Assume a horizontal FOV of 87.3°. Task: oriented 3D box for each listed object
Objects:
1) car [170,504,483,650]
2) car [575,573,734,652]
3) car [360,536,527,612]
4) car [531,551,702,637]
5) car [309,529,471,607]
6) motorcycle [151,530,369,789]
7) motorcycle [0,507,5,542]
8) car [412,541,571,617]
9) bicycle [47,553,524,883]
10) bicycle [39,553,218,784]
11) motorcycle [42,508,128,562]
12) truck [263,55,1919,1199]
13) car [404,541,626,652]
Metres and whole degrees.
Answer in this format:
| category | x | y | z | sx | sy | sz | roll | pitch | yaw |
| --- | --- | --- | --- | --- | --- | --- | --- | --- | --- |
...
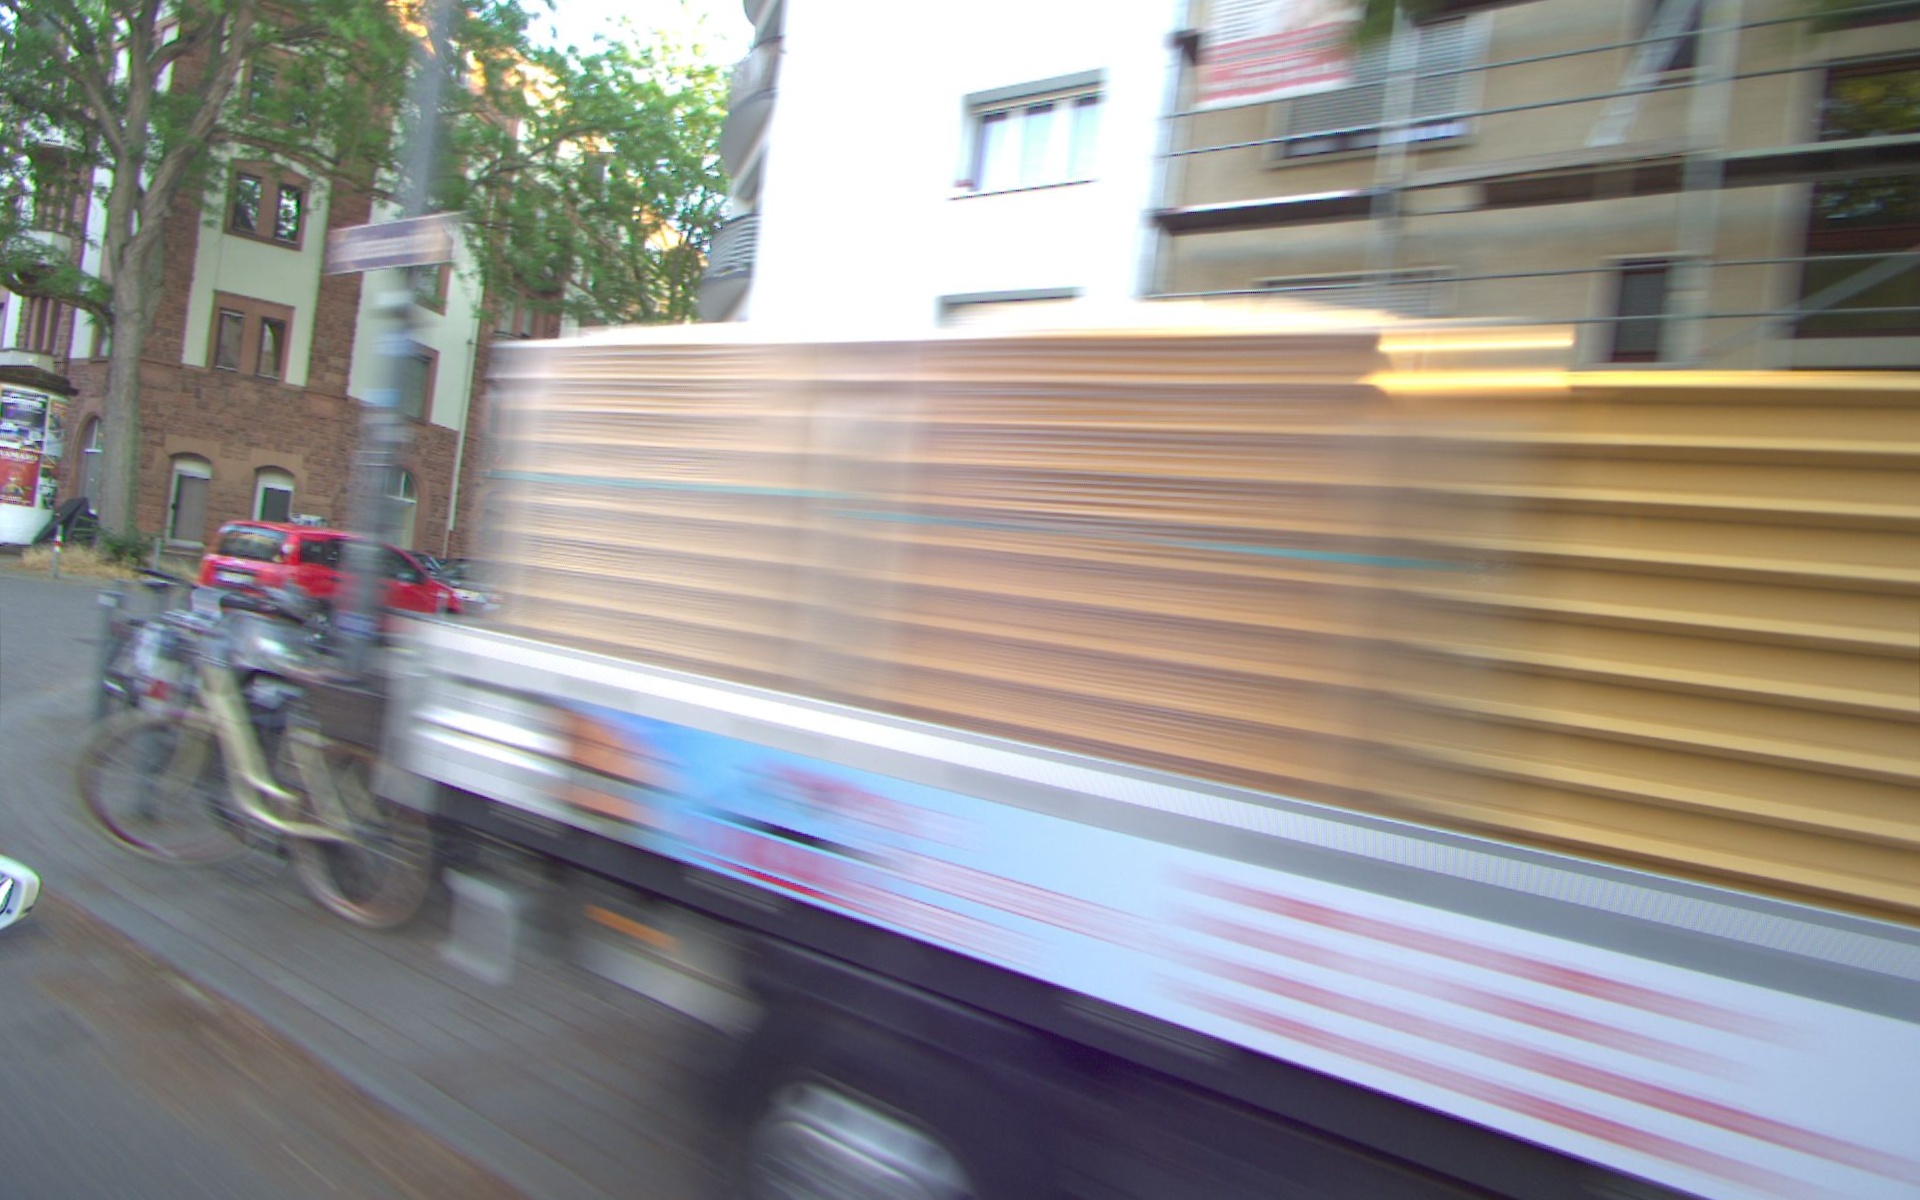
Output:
| category | x | y | z | sx | sy | sz | roll | pitch | yaw |
| --- | --- | --- | --- | --- | --- | --- | --- | --- | --- |
| car | -8.691 | -0.228 | 14.170 | 1.595 | 1.592 | 3.481 | 9 | 0 | 12 |
| car | -7.028 | 0.361 | 23.648 | 1.625 | 1.445 | 4.241 | 7 | -2 | 12 |
| car | -14.912 | -0.739 | 29.100 | 3.924 | 1.572 | 1.828 | 8 | -1 | 14 |
| car | -13.091 | -0.207 | 38.497 | 5.444 | 2.447 | 2.402 | 8 | -1 | 9 |
| car | -15.104 | -0.839 | 26.722 | 3.368 | 1.495 | 1.683 | 8 | -1 | 14 |
| motorcycle | -4.545 | 0.307 | 6.457 | 2.031 | 1.374 | 0.501 | 7 | 2 | 38 |
| motorcycle | -20.574 | -1.457 | 20.504 | 0.431 | 1.092 | 2.206 | 8 | 0 | -13 |
| car | -14.598 | -0.625 | 31.412 | 4.064 | 1.741 | 1.778 | 8 | -1 | 11 |
| bicycle | -3.105 | 0.502 | 4.897 | 0.399 | 1.275 | 1.906 | 7 | 1 | 26 |
| bicycle | -5.275 | 0.356 | 6.324 | 2.123 | 1.124 | 0.405 | 7 | 2 | 39 |
| motorcycle | -19.879 | -1.451 | 22.900 | 0.431 | 1.093 | 2.105 | 8 | 0 | -13 |
| truck | 1.569 | 0.580 | 1.999 | 6.661 | 2.271 | 1.981 | 7 | -1 | 29 |
| car | -7.899 | 0.037 | 18.294 | 1.595 | 1.524 | 3.903 | 9 | -2 | 11 |
